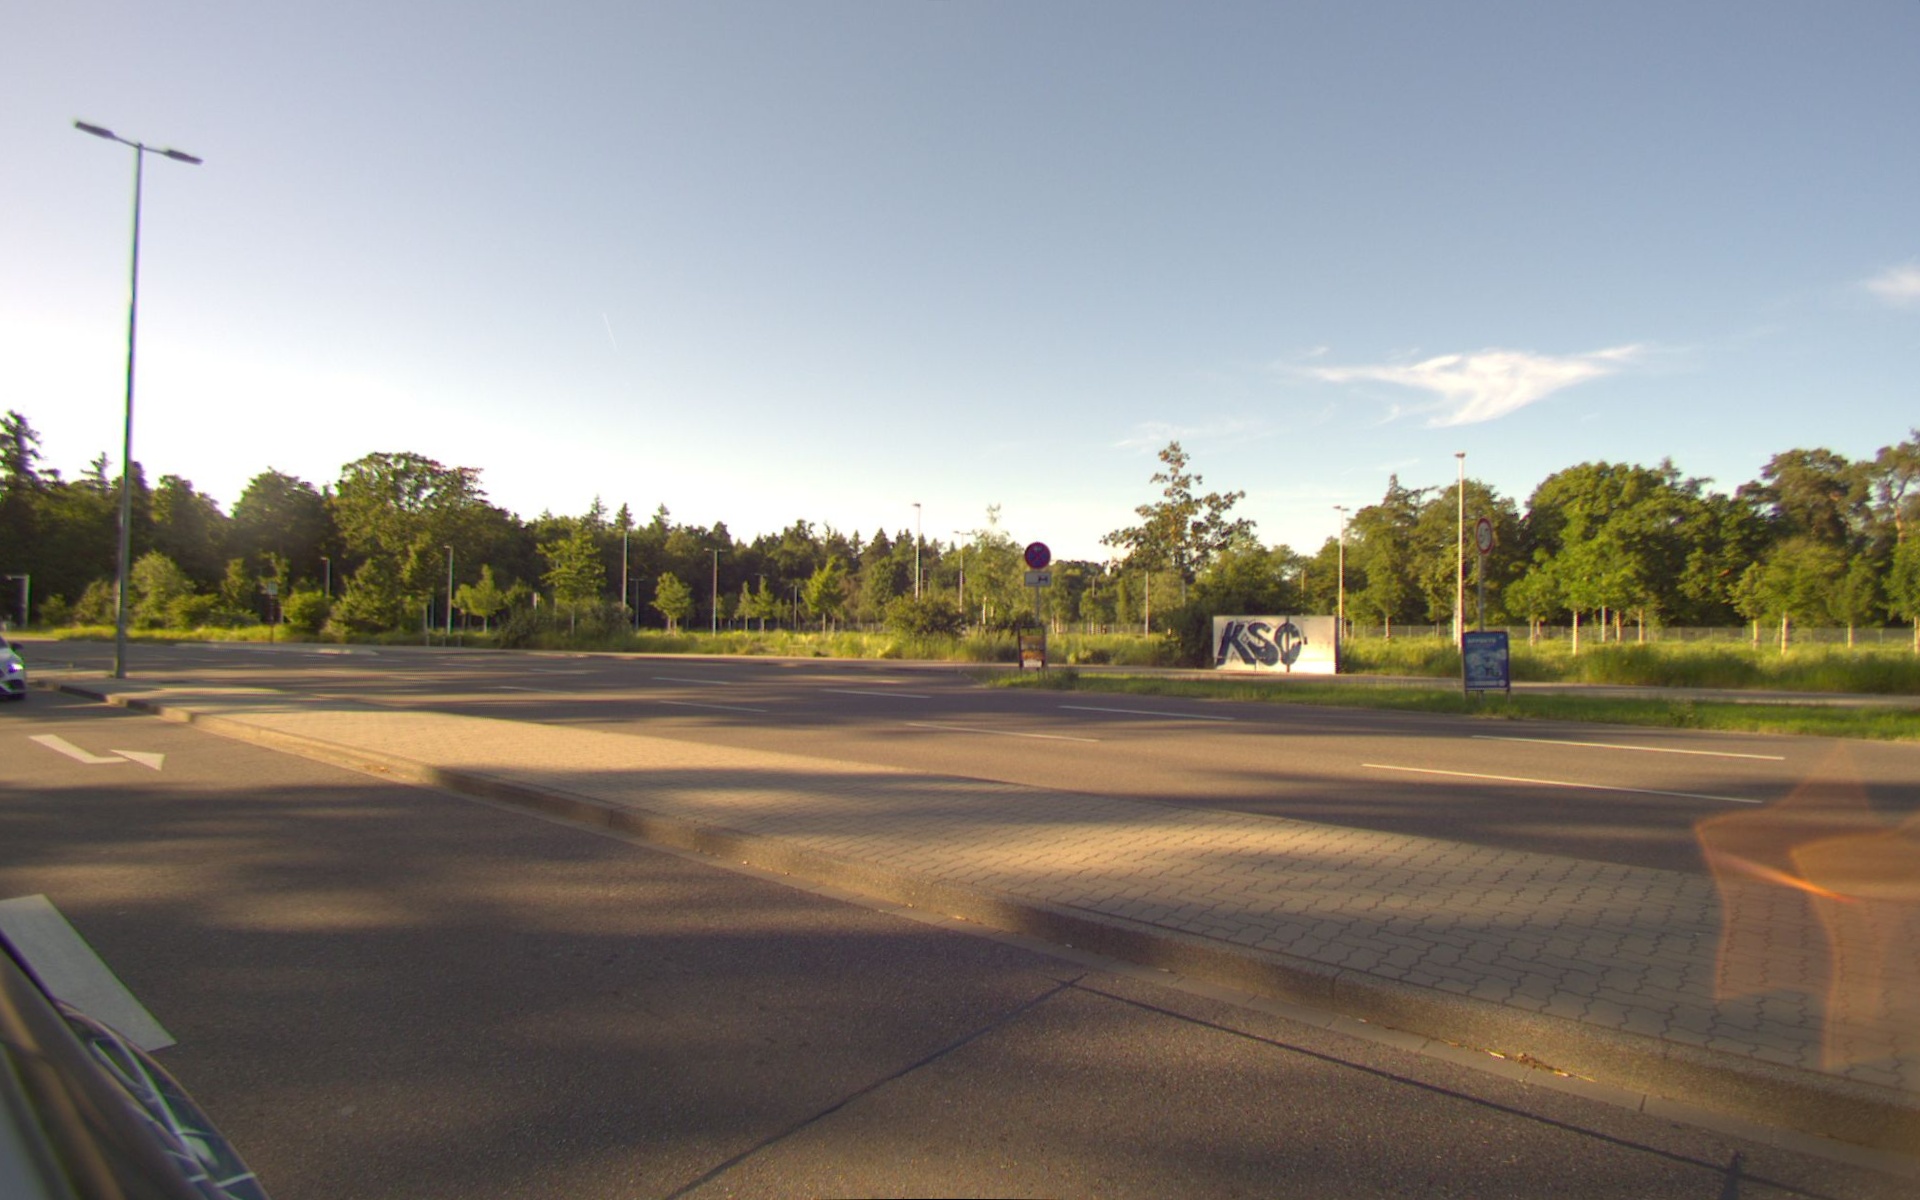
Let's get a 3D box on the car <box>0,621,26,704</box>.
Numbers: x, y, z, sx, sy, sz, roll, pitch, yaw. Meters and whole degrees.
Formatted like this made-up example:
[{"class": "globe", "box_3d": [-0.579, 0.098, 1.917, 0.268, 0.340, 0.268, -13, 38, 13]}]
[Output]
[{"class": "car", "box_3d": [-18.780, 1.162, 18.714, 4.275, 1.455, 1.766, -2, -1, 41]}]
